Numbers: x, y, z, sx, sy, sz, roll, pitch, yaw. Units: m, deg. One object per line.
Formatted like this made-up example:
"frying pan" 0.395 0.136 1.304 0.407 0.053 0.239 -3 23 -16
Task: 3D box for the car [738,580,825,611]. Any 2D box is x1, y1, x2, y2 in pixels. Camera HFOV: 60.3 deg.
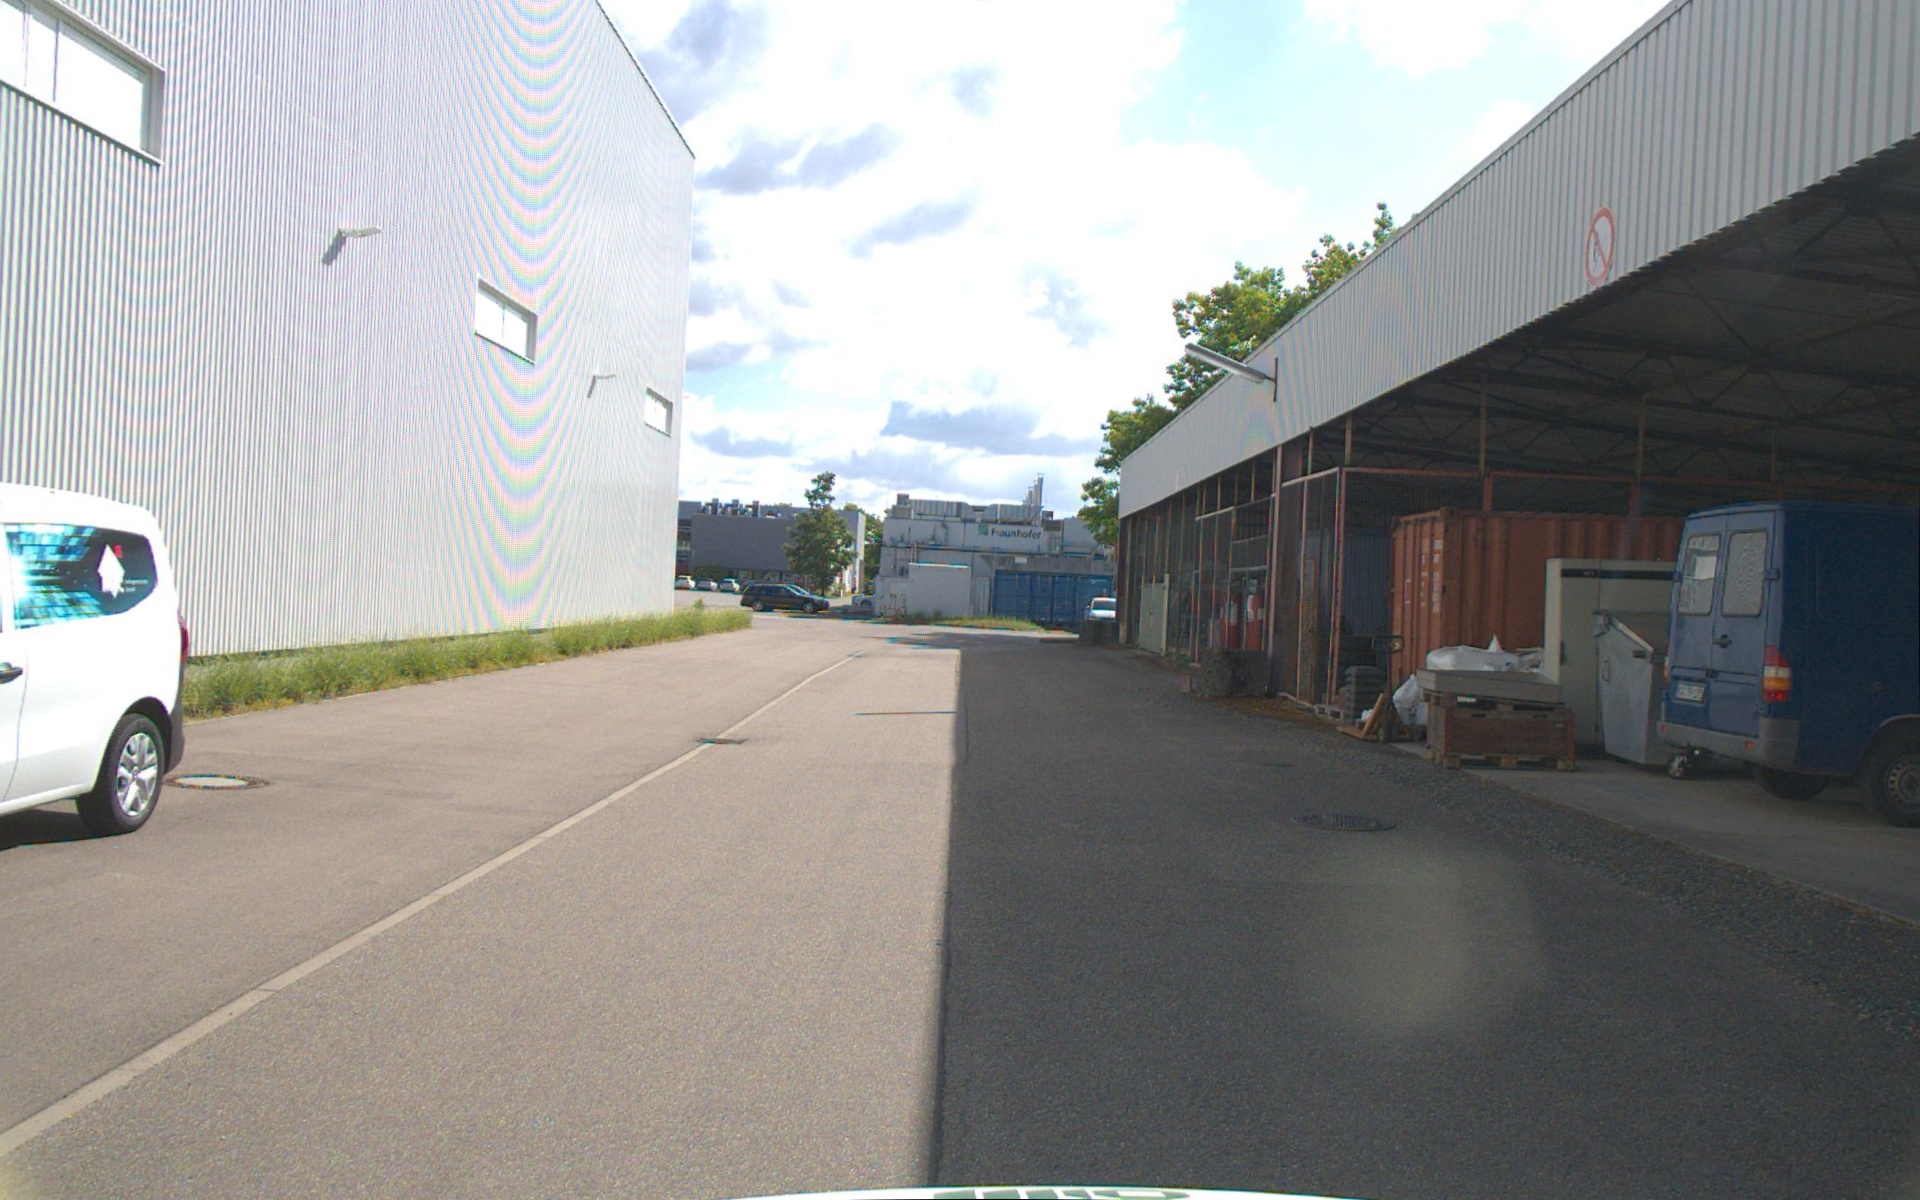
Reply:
"car" -9.637 -0.233 89.711 4.437 1.468 1.987 3 -1 0

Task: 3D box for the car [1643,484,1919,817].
"car" 8.322 0.428 12.868 5.110 2.337 2.083 2 0 -1

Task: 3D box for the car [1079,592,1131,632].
"car" 6.745 0.544 77.269 1.941 1.621 4.340 3 1 -1

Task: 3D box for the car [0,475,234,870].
"car" -5.334 0.276 7.567 1.889 1.821 4.598 4 0 0

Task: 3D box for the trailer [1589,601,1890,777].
"trailer" 7.208 0.792 15.462 2.050 1.488 1.642 2 -1 3

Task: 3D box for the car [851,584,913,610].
"car" -5.519 -0.222 117.496 4.192 1.596 1.987 3 -2 0

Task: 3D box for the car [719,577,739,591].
"car" -26.082 -1.815 186.579 1.840 1.564 4.033 1 0 -3

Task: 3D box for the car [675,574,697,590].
"car" -30.875 -1.975 186.463 1.840 1.719 4.033 1 0 -3

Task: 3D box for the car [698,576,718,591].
"car" -28.361 -1.854 186.336 1.840 1.564 4.033 1 0 -3

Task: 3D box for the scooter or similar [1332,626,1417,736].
"scooter or similar" 4.647 0.883 18.616 0.510 1.154 1.592 2 -1 -1
